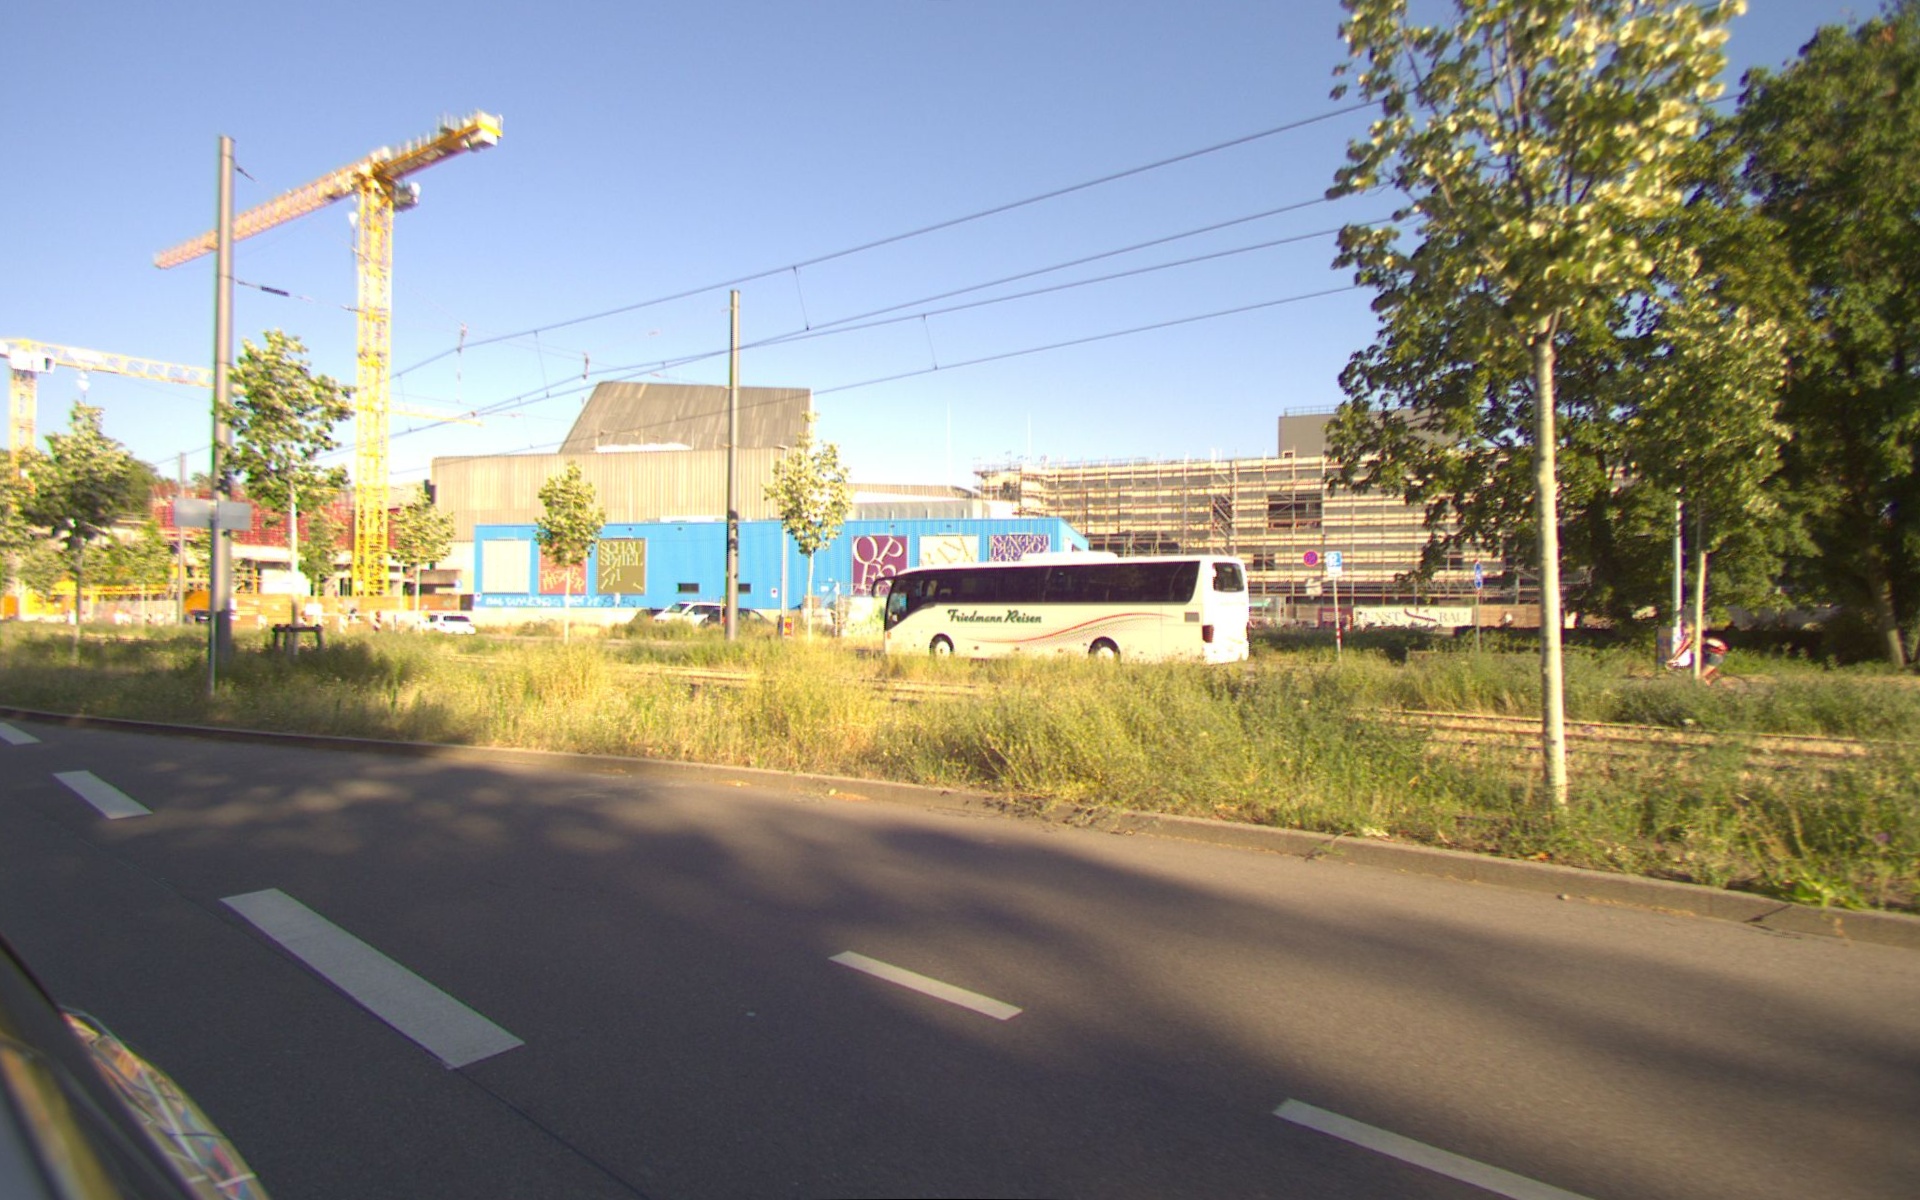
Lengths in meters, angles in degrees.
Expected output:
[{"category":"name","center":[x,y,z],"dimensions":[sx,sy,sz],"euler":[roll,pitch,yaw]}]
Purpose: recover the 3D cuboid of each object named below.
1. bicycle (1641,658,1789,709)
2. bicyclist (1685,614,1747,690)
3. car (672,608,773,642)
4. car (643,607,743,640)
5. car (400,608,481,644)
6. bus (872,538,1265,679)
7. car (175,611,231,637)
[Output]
[{"category":"bicycle","center":[13.880,1.517,18.642],"dimensions":[2.143,0.810,0.681],"euler":[-1,-1,40]},{"category":"bicyclist","center":[13.913,0.934,18.620],"dimensions":[0.870,1.357,0.681],"euler":[-1,-2,40]},{"category":"car","center":[-12.808,1.324,54.866],"dimensions":[2.122,1.730,5.176],"euler":[-1,-1,38]},{"category":"car","center":[-14.890,1.290,56.708],"dimensions":[2.122,1.730,5.176],"euler":[-1,-1,38]},{"category":"car","center":[-24.761,1.216,48.200],"dimensions":[4.163,1.655,1.974],"euler":[-1,-1,40]},{"category":"bus","center":[2.748,0.302,31.164],"dimensions":[12.687,3.622,2.771],"euler":[-1,-1,40]},{"category":"car","center":[-50.163,1.547,67.016],"dimensions":[4.265,1.663,1.974],"euler":[-1,-1,39]}]
